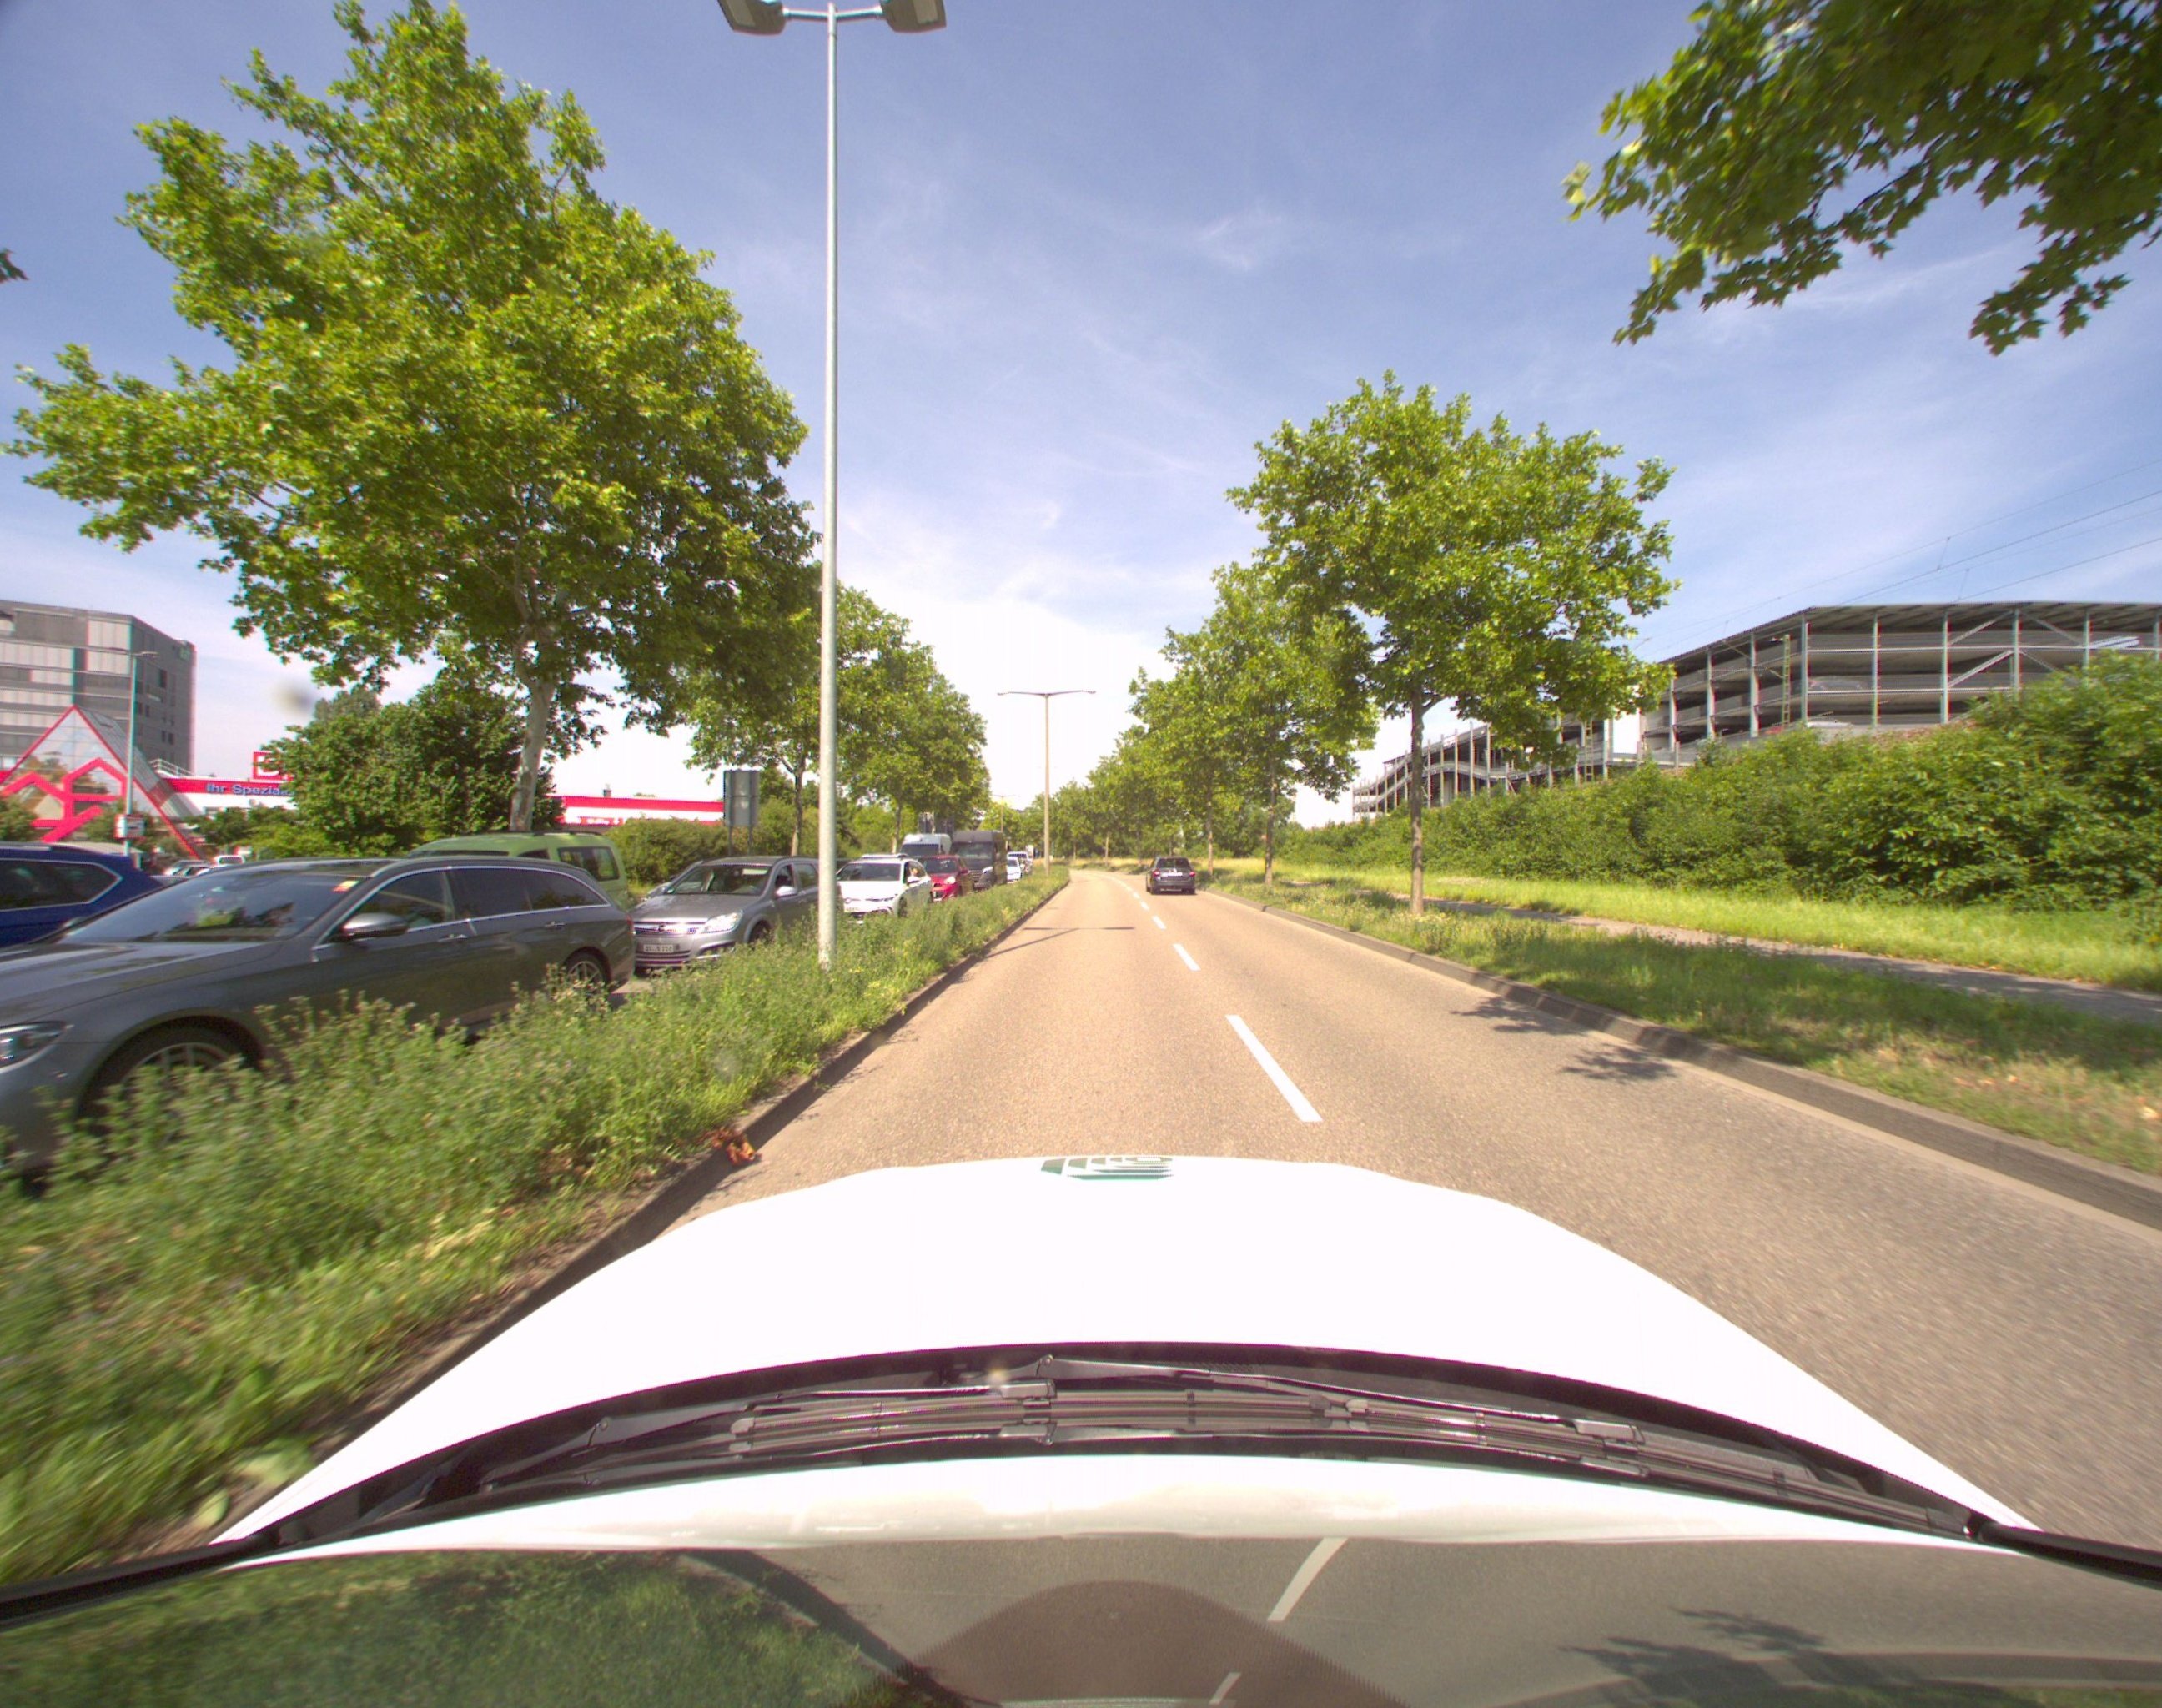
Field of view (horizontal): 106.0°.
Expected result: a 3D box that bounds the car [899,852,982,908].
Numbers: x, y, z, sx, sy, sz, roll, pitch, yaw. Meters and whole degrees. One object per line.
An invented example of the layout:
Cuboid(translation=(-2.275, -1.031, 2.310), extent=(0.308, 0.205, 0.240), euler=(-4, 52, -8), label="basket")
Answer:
Cuboid(translation=(-4.087, 0.705, 24.280), extent=(1.682, 1.510, 3.816), euler=(-1, 0, 2), label="car")

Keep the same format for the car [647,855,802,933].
Cuboid(translation=(-7.828, 0.814, 18.281), extent=(1.682, 1.530, 3.816), euler=(-1, 0, 2), label="car")

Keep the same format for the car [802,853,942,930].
Cuboid(translation=(-4.406, 0.726, 17.875), extent=(1.777, 1.459, 4.474), euler=(0, 0, 2), label="car")

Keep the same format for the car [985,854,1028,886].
Cuboid(translation=(-3.683, 0.789, 40.928), extent=(1.682, 1.530, 3.816), euler=(-1, -1, 2), label="car")

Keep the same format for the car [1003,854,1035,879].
Cuboid(translation=(-4.082, 0.823, 53.790), extent=(1.682, 1.530, 3.816), euler=(-1, -1, 2), label="car")

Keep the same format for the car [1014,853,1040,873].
Cuboid(translation=(-4.255, 0.677, 64.972), extent=(1.682, 1.530, 3.816), euler=(-1, 0, 2), label="car")

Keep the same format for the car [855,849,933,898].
Cuboid(translation=(-7.182, 0.719, 31.672), extent=(1.986, 1.756, 4.001), euler=(-1, 0, 1), label="car")

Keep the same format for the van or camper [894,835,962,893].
Cuboid(translation=(-7.183, 0.434, 38.888), extent=(2.007, 2.587, 5.519), euler=(-1, 0, 2), label="van or camper")

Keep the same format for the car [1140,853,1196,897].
Cuboid(translation=(3.292, 0.761, 31.495), extent=(1.669, 1.453, 4.035), euler=(3, 1, 0), label="car")

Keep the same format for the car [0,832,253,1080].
Cuboid(translation=(-7.989, 0.681, 4.818), extent=(1.682, 1.631, 4.313), euler=(-1, 0, 2), label="car")

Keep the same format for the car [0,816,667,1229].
Cuboid(translation=(-5.064, 0.659, 5.484), extent=(1.840, 1.607, 5.010), euler=(-1, 0, 2), label="car")

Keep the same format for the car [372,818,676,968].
Cuboid(translation=(-7.975, 0.504, 12.213), extent=(1.682, 1.858, 4.038), euler=(-1, 0, 2), label="car")

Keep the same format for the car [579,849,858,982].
Cuboid(translation=(-4.860, 0.711, 11.806), extent=(1.806, 1.530, 4.644), euler=(-1, 0, 2), label="car")

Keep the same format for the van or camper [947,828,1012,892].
Cuboid(translation=(-4.063, 0.258, 33.449), extent=(1.932, 2.369, 5.397), euler=(-1, -1, 0), label="van or camper")
